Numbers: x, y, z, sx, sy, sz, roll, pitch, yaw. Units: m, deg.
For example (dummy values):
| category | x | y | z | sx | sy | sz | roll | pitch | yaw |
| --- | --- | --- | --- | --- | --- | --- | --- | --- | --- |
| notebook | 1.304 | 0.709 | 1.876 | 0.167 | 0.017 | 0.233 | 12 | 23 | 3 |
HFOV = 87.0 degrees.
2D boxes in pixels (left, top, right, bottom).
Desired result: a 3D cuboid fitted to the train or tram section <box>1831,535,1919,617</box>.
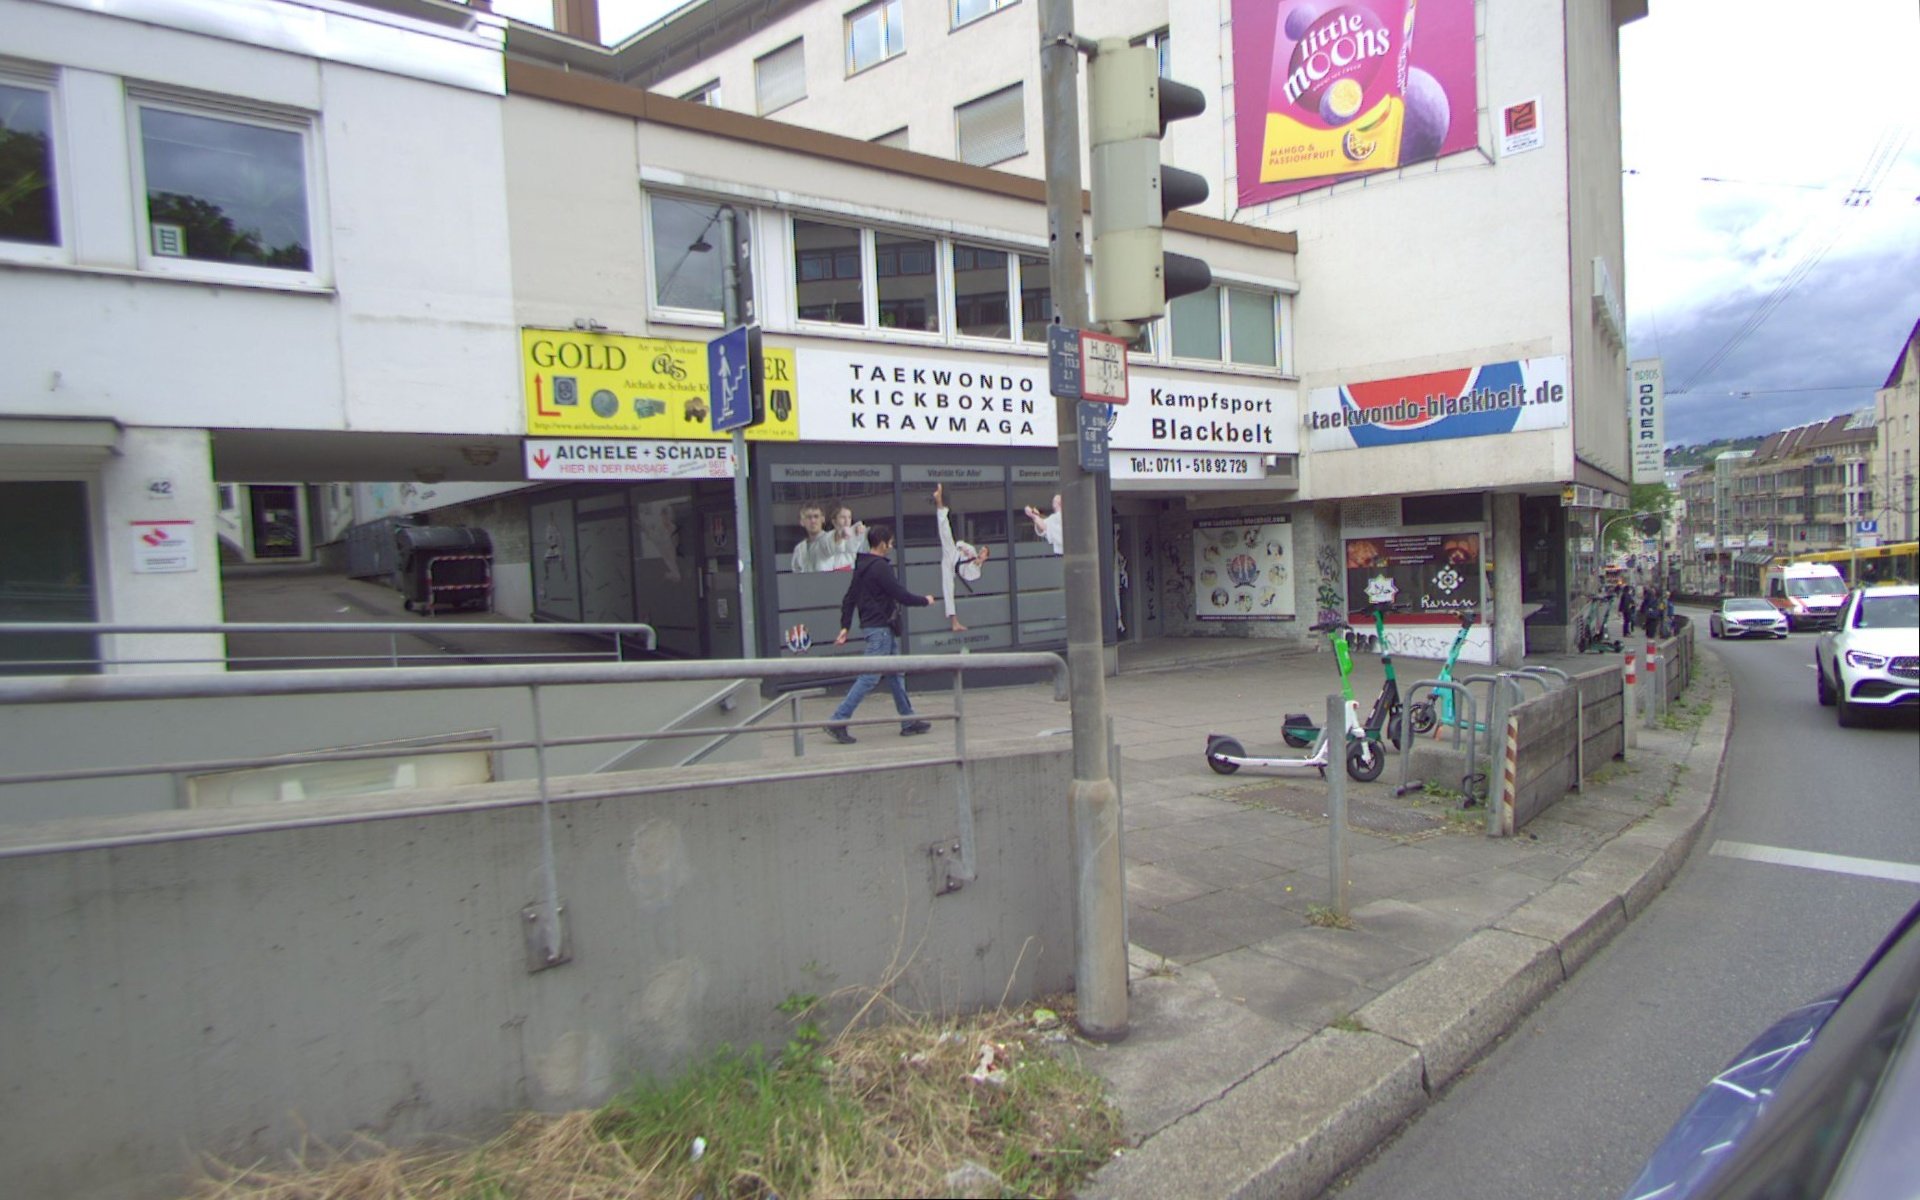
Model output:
| category | x | y | z | sx | sy | sz | roll | pitch | yaw |
| --- | --- | --- | --- | --- | --- | --- | --- | --- | --- |
| train or tram section | 46.373 | -1.263 | 49.118 | 2.904 | 3.603 | 14.096 | -3 | 0 | 27 |

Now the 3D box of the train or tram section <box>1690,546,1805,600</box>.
| category | x | y | z | sx | sy | sz | roll | pitch | yaw |
| --- | --- | --- | --- | --- | --- | --- | --- | --- | --- |
| train or tram section | 57.909 | -1.831 | 74.925 | 2.857 | 3.463 | 14.121 | -4 | -1 | 22 |

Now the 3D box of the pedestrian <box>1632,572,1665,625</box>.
| category | x | y | z | sx | sy | sz | roll | pitch | yaw |
| --- | --- | --- | --- | --- | --- | --- | --- | --- | --- |
| pedestrian | 24.999 | -0.045 | 36.738 | 0.735 | 1.817 | 0.647 | -10 | -5 | 34 |

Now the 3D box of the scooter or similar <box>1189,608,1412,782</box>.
| category | x | y | z | sx | sy | sz | roll | pitch | yaw |
| --- | --- | --- | --- | --- | --- | --- | --- | --- | --- |
| scooter or similar | 2.440 | 0.672 | 7.376 | 1.421 | 1.197 | 0.582 | -1 | 0 | 7 |

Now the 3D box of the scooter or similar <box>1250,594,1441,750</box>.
| category | x | y | z | sx | sy | sz | roll | pitch | yaw |
| --- | --- | --- | --- | --- | --- | --- | --- | --- | --- |
| scooter or similar | 3.279 | 0.593 | 8.693 | 1.421 | 1.270 | 0.556 | 1 | 0 | 7 |

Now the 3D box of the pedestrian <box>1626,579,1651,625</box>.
| category | x | y | z | sx | sy | sz | roll | pitch | yaw |
| --- | --- | --- | --- | --- | --- | --- | --- | --- | --- |
| pedestrian | 27.414 | 0.091 | 40.902 | 0.717 | 1.808 | 0.874 | -3 | -1 | 31 |

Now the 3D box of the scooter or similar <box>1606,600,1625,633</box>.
| category | x | y | z | sx | sy | sz | roll | pitch | yaw |
| --- | --- | --- | --- | --- | --- | --- | --- | --- | --- |
| scooter or similar | 25.979 | 0.647 | 40.086 | 0.427 | 1.292 | 0.965 | -2 | -1 | 43 |

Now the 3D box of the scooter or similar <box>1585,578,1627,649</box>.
| category | x | y | z | sx | sy | sz | roll | pitch | yaw |
| --- | --- | --- | --- | --- | --- | --- | --- | --- | --- |
| scooter or similar | 14.084 | 0.286 | 22.066 | 0.666 | 1.494 | 1.163 | -1 | -1 | 37 |

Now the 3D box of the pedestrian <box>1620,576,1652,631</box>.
| category | x | y | z | sx | sy | sz | roll | pitch | yaw |
| --- | --- | --- | --- | --- | --- | --- | --- | --- | --- |
| pedestrian | 23.483 | 0.114 | 35.157 | 0.725 | 1.829 | 0.646 | 6 | 4 | 35 |

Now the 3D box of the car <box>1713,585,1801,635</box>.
| category | x | y | z | sx | sy | sz | roll | pitch | yaw |
| --- | --- | --- | --- | --- | --- | --- | --- | --- | --- |
| car | 27.958 | 0.315 | 35.625 | 1.655 | 1.549 | 3.960 | -4 | -1 | 29 |

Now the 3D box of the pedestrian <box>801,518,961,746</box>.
| category | x | y | z | sx | sy | sz | roll | pitch | yaw |
| --- | --- | --- | --- | --- | --- | --- | --- | --- | --- |
| pedestrian | -0.694 | 0.239 | 8.788 | 1.128 | 1.833 | 0.837 | -1 | 2 | -30 |

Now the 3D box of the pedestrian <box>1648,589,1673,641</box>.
| category | x | y | z | sx | sy | sz | roll | pitch | yaw |
| --- | --- | --- | --- | --- | --- | --- | --- | --- | --- |
| pedestrian | 23.367 | 0.481 | 33.763 | 0.560 | 1.671 | 0.584 | 5 | 3 | 33 |

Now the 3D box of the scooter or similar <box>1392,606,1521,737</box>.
| category | x | y | z | sx | sy | sz | roll | pitch | yaw |
| --- | --- | --- | --- | --- | --- | --- | --- | --- | --- |
| scooter or similar | 4.643 | 0.660 | 9.497 | 0.993 | 1.197 | 0.376 | -1 | -1 | 7 |

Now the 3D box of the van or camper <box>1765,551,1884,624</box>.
| category | x | y | z | sx | sy | sz | roll | pitch | yaw |
| --- | --- | --- | --- | --- | --- | --- | --- | --- | --- |
| van or camper | 33.885 | -0.478 | 39.906 | 2.190 | 2.591 | 6.309 | -3 | -1 | 29 |

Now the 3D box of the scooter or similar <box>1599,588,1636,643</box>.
| category | x | y | z | sx | sy | sz | roll | pitch | yaw |
| --- | --- | --- | --- | --- | --- | --- | --- | --- | --- |
| scooter or similar | 15.438 | 0.357 | 23.765 | 0.629 | 1.265 | 1.315 | -1 | -1 | 37 |

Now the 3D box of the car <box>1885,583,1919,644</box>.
| category | x | y | z | sx | sy | sz | roll | pitch | yaw |
| --- | --- | --- | --- | --- | --- | --- | --- | --- | --- |
| car | 24.745 | 0.311 | 24.924 | 1.882 | 1.494 | 4.484 | -2 | 0 | 30 |

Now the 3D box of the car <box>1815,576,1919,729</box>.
| category | x | y | z | sx | sy | sz | roll | pitch | yaw |
| --- | --- | --- | --- | --- | --- | --- | --- | --- | --- |
| car | 12.129 | 0.521 | 12.621 | 1.925 | 1.652 | 4.709 | -2 | -1 | 37 |

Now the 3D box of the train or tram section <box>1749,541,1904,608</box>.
| category | x | y | z | sx | sy | sz | roll | pitch | yaw |
| --- | --- | --- | --- | --- | --- | --- | --- | --- | --- |
| train or tram section | 52.429 | -1.430 | 61.871 | 2.858 | 3.485 | 14.117 | -4 | -1 | 23 |

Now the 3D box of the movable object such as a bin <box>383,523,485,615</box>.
| category | x | y | z | sx | sy | sz | roll | pitch | yaw |
| --- | --- | --- | --- | --- | --- | --- | --- | --- | --- |
| movable object such as a bin | -9.160 | -0.568 | 17.612 | 1.329 | 1.473 | 1.241 | -2 | 6 | -41 |

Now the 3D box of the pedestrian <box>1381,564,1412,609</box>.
| category | x | y | z | sx | sy | sz | roll | pitch | yaw |
| --- | --- | --- | --- | --- | --- | --- | --- | --- | --- |
| pedestrian | 9.821 | -0.298 | 22.768 | 0.506 | 0.991 | 0.488 | -2 | -1 | 41 |

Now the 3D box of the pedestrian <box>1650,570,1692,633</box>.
| category | x | y | z | sx | sy | sz | roll | pitch | yaw |
| --- | --- | --- | --- | --- | --- | --- | --- | --- | --- |
| pedestrian | 24.895 | 0.048 | 35.458 | 0.944 | 2.086 | 0.769 | 9 | 5 | 34 |

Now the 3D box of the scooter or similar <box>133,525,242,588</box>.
| category | x | y | z | sx | sy | sz | roll | pitch | yaw |
| --- | --- | --- | --- | --- | --- | --- | --- | --- | --- |
| scooter or similar | -16.751 | -0.948 | 22.001 | 1.776 | 1.296 | 0.780 | -2 | -1 | -32 |
